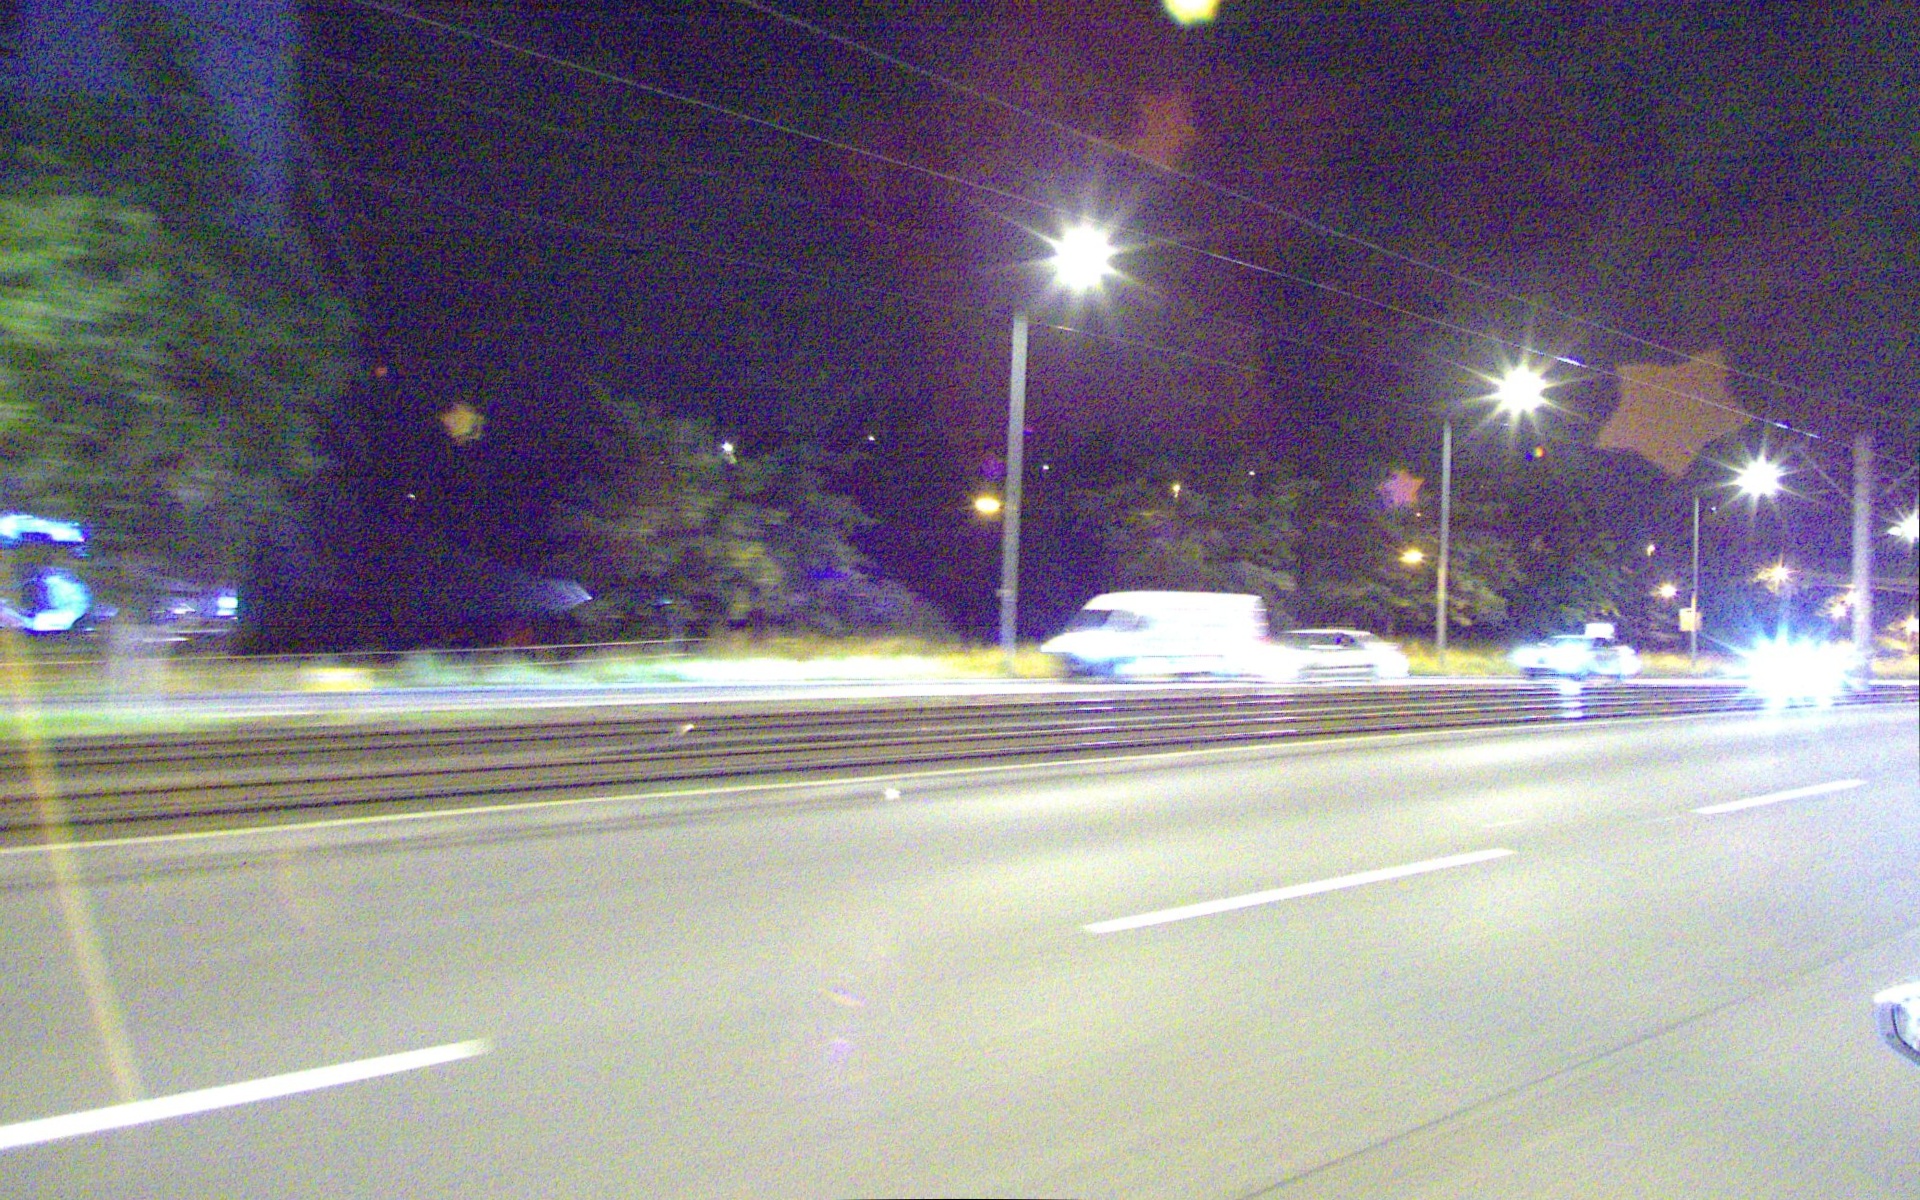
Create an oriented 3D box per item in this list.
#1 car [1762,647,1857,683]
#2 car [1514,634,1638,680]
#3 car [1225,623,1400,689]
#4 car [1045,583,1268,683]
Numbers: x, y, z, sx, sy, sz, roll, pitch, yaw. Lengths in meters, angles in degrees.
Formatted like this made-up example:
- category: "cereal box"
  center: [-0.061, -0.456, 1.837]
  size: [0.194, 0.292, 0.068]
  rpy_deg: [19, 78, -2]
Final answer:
- category: "car"
  center: [37.797, 2.861, 44.663]
  size: [4.902, 1.448, 1.856]
  rpy_deg: [2, -1, -32]
- category: "car"
  center: [21.870, 2.002, 35.637]
  size: [4.560, 1.534, 1.853]
  rpy_deg: [2, -3, -31]
- category: "car"
  center: [8.515, 1.339, 24.145]
  size: [4.288, 1.458, 1.613]
  rpy_deg: [2, -3, -31]
- category: "car"
  center: [5.937, 1.074, 29.914]
  size: [6.884, 2.705, 2.135]
  rpy_deg: [2, -4, -32]
